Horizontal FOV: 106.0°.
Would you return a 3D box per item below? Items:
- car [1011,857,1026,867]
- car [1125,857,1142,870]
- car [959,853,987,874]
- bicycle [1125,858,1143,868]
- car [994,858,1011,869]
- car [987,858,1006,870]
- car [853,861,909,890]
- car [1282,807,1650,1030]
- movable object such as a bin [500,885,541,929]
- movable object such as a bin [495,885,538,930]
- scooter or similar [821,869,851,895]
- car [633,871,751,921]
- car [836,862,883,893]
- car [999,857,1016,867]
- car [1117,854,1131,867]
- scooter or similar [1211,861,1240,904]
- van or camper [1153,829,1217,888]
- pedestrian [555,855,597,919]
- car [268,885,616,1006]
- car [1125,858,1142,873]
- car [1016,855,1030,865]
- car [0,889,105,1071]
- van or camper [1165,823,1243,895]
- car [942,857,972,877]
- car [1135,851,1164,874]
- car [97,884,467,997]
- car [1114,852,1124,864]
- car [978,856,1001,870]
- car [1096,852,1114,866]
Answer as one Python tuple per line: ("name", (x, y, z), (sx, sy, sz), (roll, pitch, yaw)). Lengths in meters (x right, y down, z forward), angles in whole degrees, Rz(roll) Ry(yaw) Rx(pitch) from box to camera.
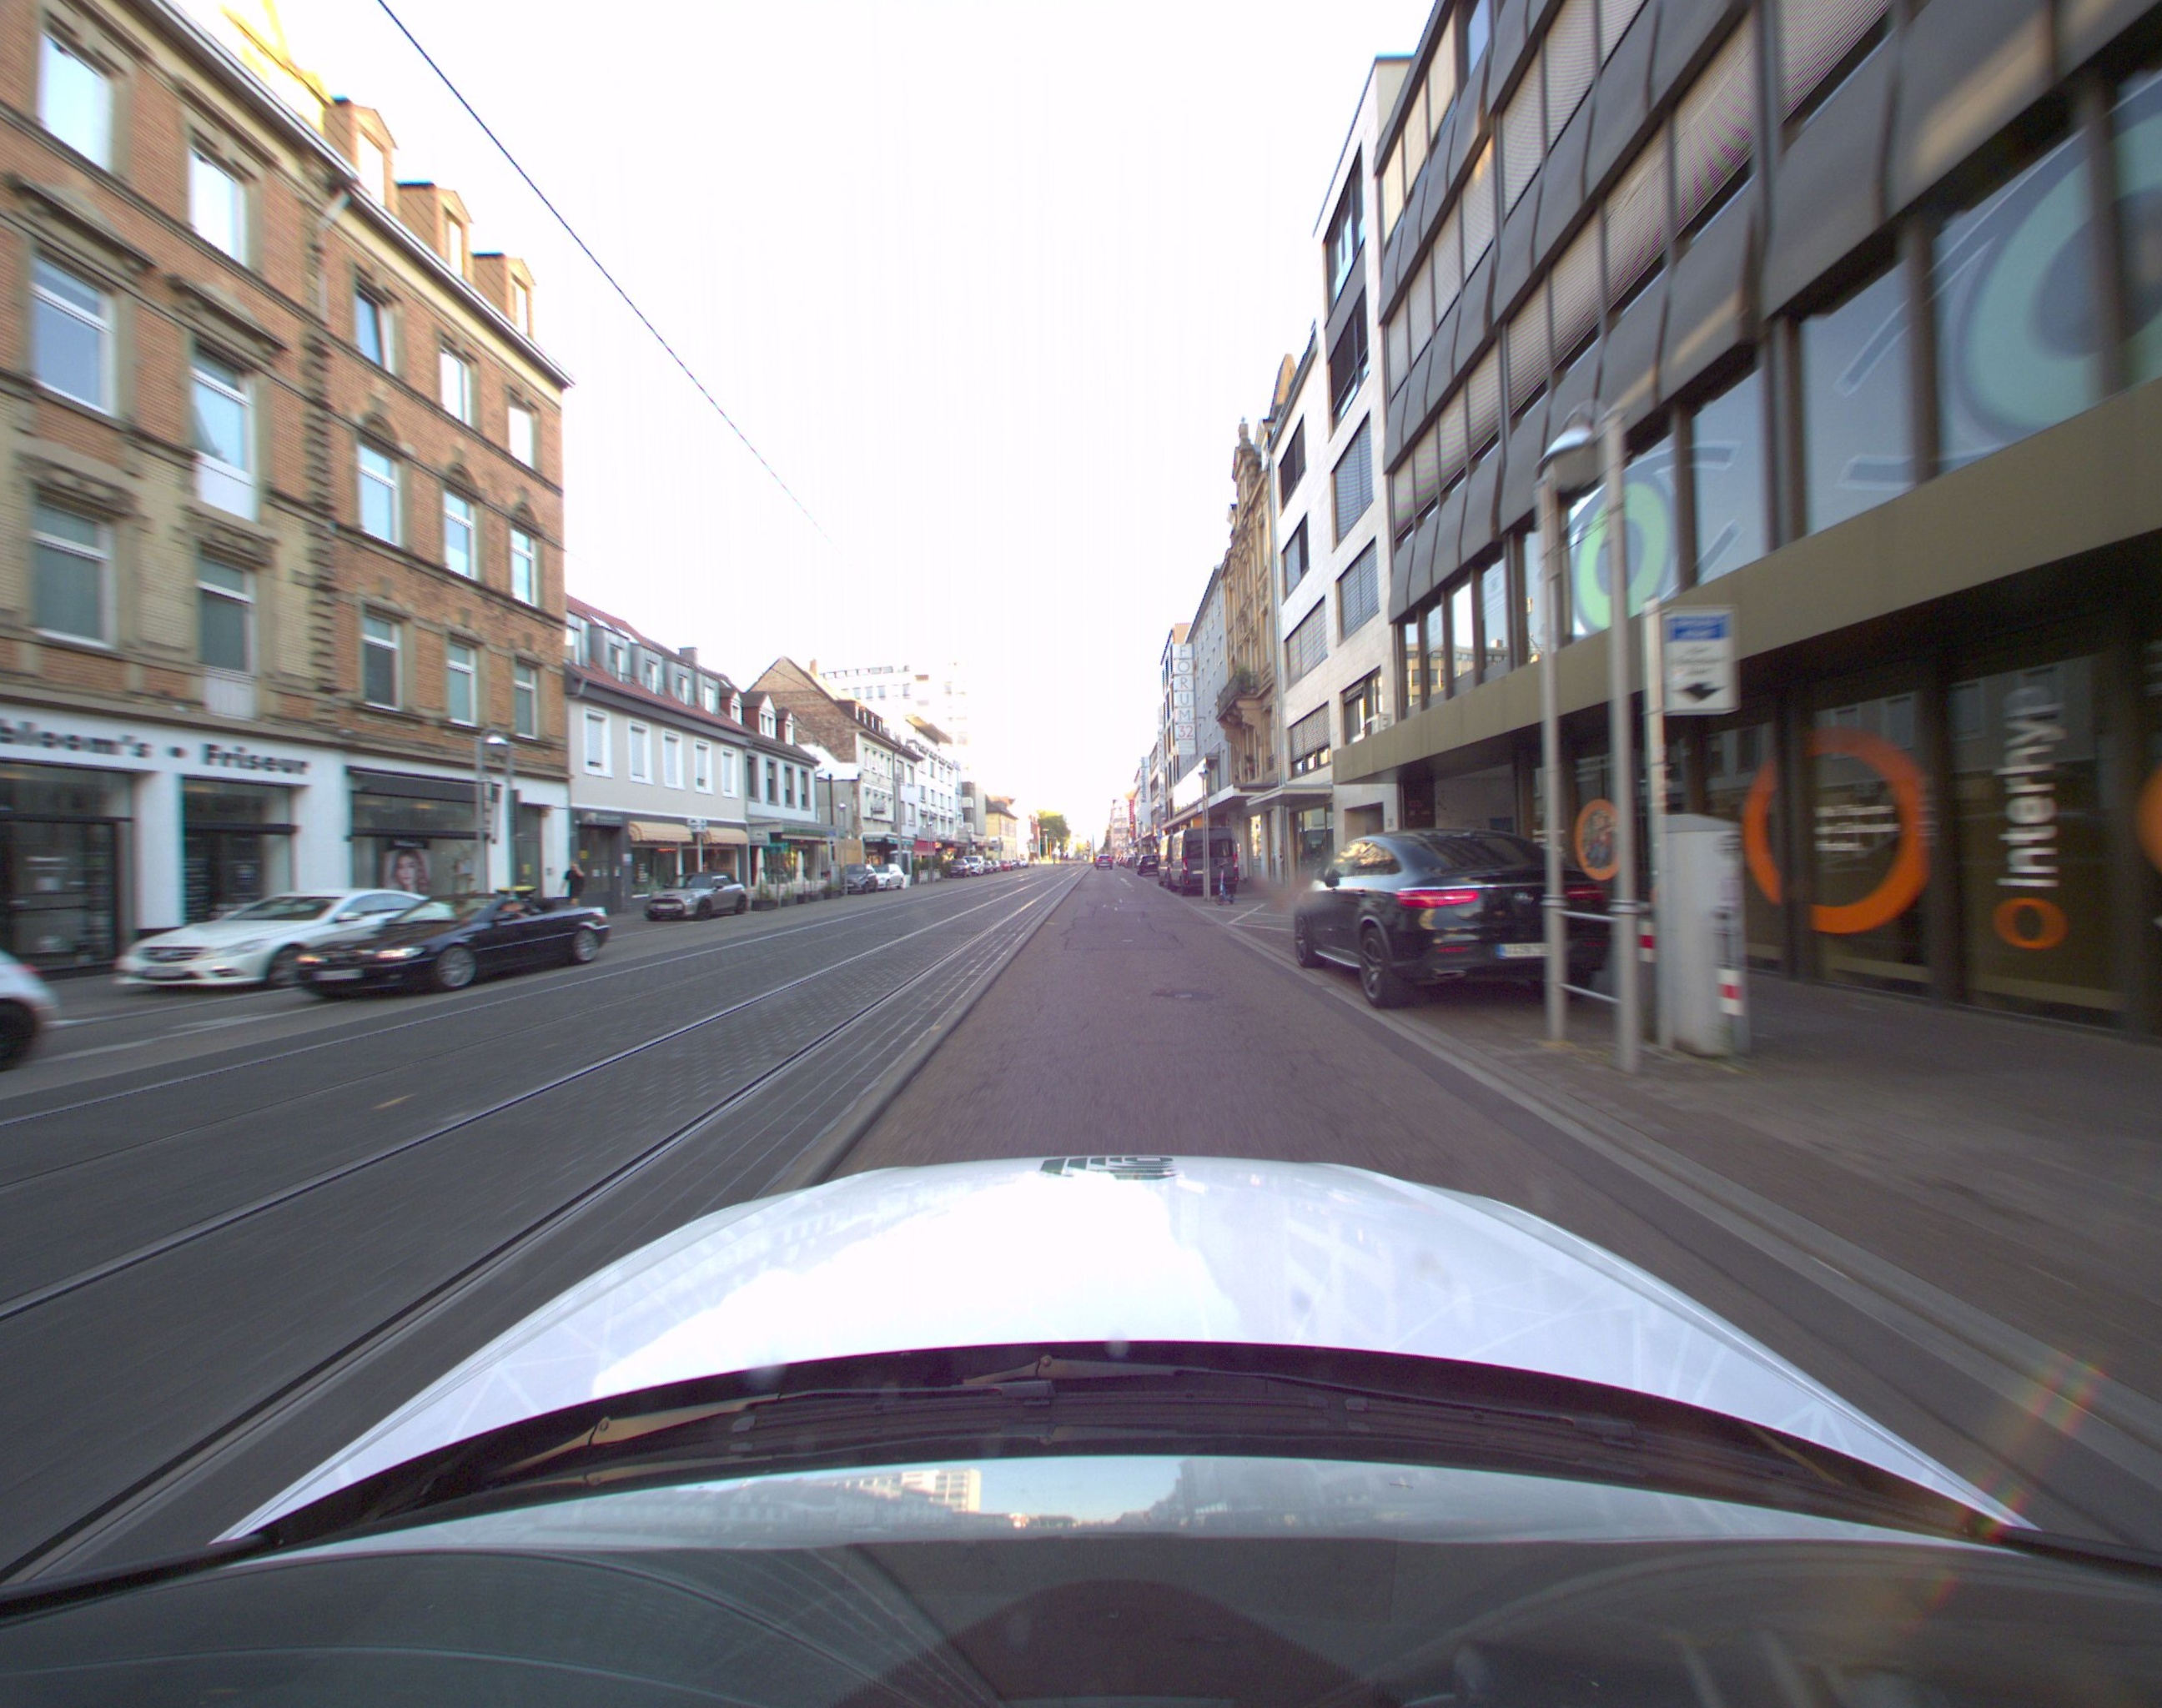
("car", (-9.423, 1.183, 122.970), (1.784, 1.449, 3.892), (1, 0, 1))
("car", (6.731, 1.220, 105.080), (1.936, 1.545, 4.547), (-4, 0, 2))
("car", (-10.683, 0.925, 80.885), (1.910, 1.936, 4.843), (1, 0, 2))
("bicycle", (6.255, 1.036, 95.895), (2.113, 1.090, 0.591), (-2, 0, -2))
("car", (-10.057, 1.255, 104.911), (1.784, 1.339, 3.892), (1, 0, 1))
("car", (-9.839, 1.117, 95.108), (1.784, 1.339, 3.892), (1, 0, 1))
("car", (-11.308, 1.182, 46.336), (1.842, 1.504, 4.843), (1, 0, 2))
("car", (3.785, 0.547, 9.145), (1.976, 1.734, 4.673), (-4, 0, 2))
("movable object such as a bin", (-15.426, 1.456, 22.423), (0.588, 1.131, 0.729), (-2, 0, 2))
("movable object such as a bin", (-15.024, 1.424, 21.677), (0.588, 1.131, 0.729), (-2, 0, 2))
("scooter or similar", (-11.562, 1.337, 38.437), (1.309, 1.205, 0.294), (0, -1, 2))
("car", (-12.113, 1.266, 25.647), (1.727, 1.389, 3.866), (1, 0, 2))
("car", (-11.355, 1.173, 41.815), (1.586, 1.504, 2.813), (1, 0, 1))
("car", (-9.906, 1.078, 109.902), (1.784, 1.339, 3.892), (1, 0, 1))
("car", (6.442, 0.948, 121.120), (1.936, 1.703, 4.547), (-4, 0, 2))
("scooter or similar", (4.363, 0.854, 24.574), (0.350, 1.224, 1.123), (-4, -1, 34))
("van or camper", (4.827, 0.209, 38.546), (2.181, 2.426, 5.517), (-4, 0, 0))
("pedestrian", (-14.295, 0.925, 23.083), (0.645, 1.772, 0.855), (0, 0, 2))
("car", (-9.035, 1.203, 12.097), (1.661, 1.228, 4.274), (-4, 0, 1))
("car", (6.383, 1.379, 99.582), (1.936, 1.545, 4.547), (-4, 0, 2))
("car", (-9.160, 0.956, 129.017), (1.784, 1.449, 3.892), (1, 0, 1))
("car", (-9.981, 1.127, 5.730), (1.661, 1.505, 3.681), (-4, 0, 1))
("van or camper", (4.731, 0.186, 32.309), (2.181, 2.426, 6.133), (-4, 0, 1))
("car", (-11.066, 1.144, 72.946), (1.910, 1.763, 4.431), (1, 0, 2))
("car", (5.123, 0.643, 61.573), (1.936, 1.545, 4.547), (-4, 0, 2))
("car", (-12.463, 1.253, 13.199), (1.753, 1.389, 4.272), (1, 0, 0))
("car", (7.436, 0.844, 159.615), (1.936, 2.145, 4.547), (-4, 0, 2))
("car", (-9.929, 0.958, 88.820), (1.911, 1.521, 4.630), (1, 0, 1))
("car", (2.806, 0.556, 94.287), (1.936, 1.545, 4.547), (-1, 0, 2))
